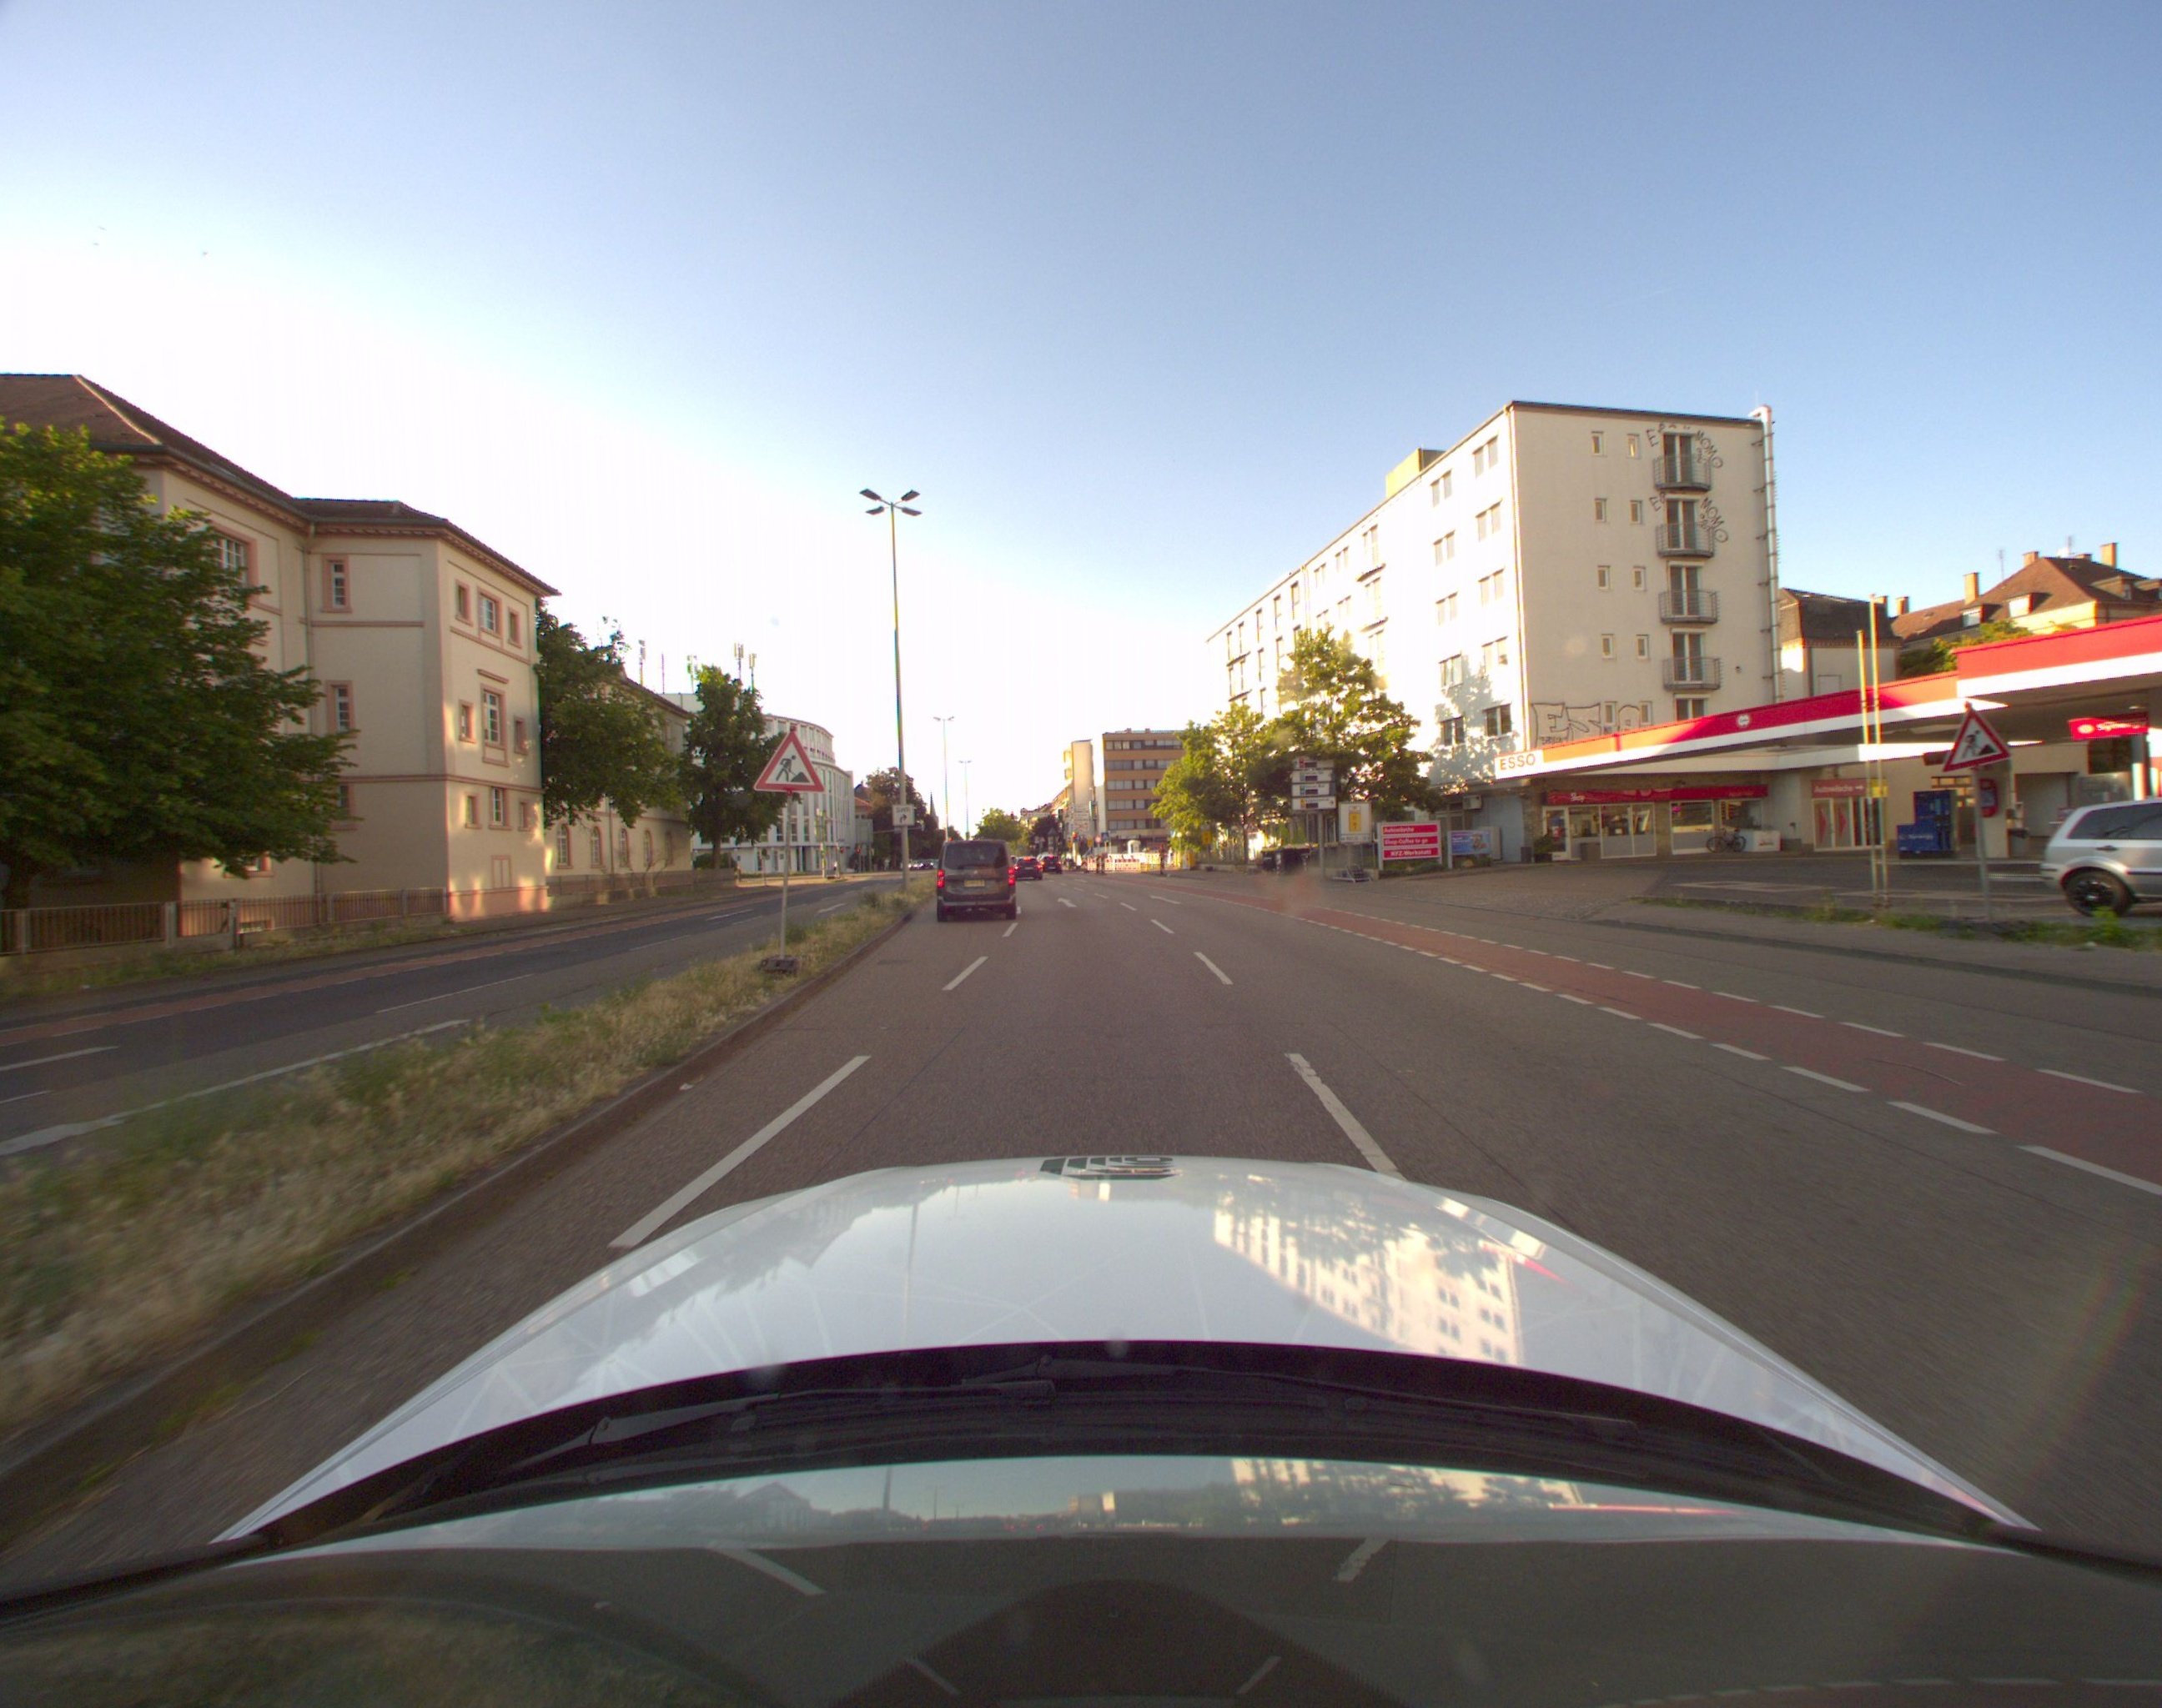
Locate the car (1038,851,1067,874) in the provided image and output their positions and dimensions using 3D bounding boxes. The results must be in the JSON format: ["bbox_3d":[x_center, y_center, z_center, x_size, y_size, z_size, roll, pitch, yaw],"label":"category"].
[{"bbox_3d":[-2.288,0.628,64.323,1.991,1.656,4.291,-3,0,-5],"label":"car"}]

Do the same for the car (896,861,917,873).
[{"bbox_3d":[-24.486,1.787,114.301,1.987,1.595,4.000,-2,0,0],"label":"car"}]

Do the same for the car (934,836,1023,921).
[{"bbox_3d":[-2.594,0.527,20.477,1.992,1.900,4.287,0,1,-8],"label":"car"}]

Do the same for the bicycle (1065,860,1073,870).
[{"bbox_3d":[-1.057,1.002,72.022,0.532,0.847,1.680,-3,0,-6],"label":"bicycle"}]

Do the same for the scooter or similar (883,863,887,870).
[{"bbox_3d":[-26.342,1.651,109.688,0.357,0.895,0.902,-3,0,-6],"label":"scooter or similar"}]

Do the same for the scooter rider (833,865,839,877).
[{"bbox_3d":[-22.339,1.548,74.191,0.510,1.036,0.443,-1,0,-18],"label":"scooter rider"}]

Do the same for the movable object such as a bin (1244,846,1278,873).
[{"bbox_3d":[9.730,0.289,44.083,1.457,1.386,1.547,-3,0,2],"label":"movable object such as a bin"}]

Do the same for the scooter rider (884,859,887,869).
[{"bbox_3d":[-26.351,1.360,109.633,0.354,1.373,0.336,-3,0,-6],"label":"scooter rider"}]

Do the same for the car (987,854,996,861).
[{"bbox_3d":[-23.892,0.956,217.006,1.849,1.708,3.711,-3,0,-11],"label":"car"}]

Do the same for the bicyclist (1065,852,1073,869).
[{"bbox_3d":[-1.078,0.539,72.012,0.540,1.459,0.640,-3,0,-6],"label":"bicyclist"}]

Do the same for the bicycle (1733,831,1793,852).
[{"bbox_3d":[28.470,-0.515,34.030,0.624,0.829,1.799,-3,1,-26],"label":"bicycle"}]

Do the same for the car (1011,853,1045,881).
[{"bbox_3d":[-3.170,0.732,49.365,1.841,1.544,3.629,-2,0,-2],"label":"car"}]

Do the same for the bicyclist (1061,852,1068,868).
[{"bbox_3d":[-1.495,0.559,74.496,0.540,1.459,0.640,-3,0,-6],"label":"bicyclist"}]

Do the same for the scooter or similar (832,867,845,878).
[{"bbox_3d":[-22.116,1.654,74.251,1.101,0.976,0.556,-1,0,-17],"label":"scooter or similar"}]

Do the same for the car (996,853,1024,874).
[{"bbox_3d":[-6.099,0.775,69.201,1.993,1.656,4.285,-3,0,-9],"label":"car"}]

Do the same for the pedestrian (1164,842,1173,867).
[{"bbox_3d":[7.315,0.031,67.945,0.490,2.013,0.662,-3,0,-8],"label":"pedestrian"}]

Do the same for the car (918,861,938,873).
[{"bbox_3d":[-21.576,1.807,115.208,1.987,1.595,4.000,-2,0,0],"label":"car"}]

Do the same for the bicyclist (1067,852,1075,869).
[{"bbox_3d":[-0.874,0.529,69.836,0.540,1.459,0.640,-3,0,-6],"label":"bicyclist"}]

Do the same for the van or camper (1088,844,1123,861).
[{"bbox_3d":[3.359,-0.220,111.898,4.541,2.013,2.004,-3,0,6],"label":"van or camper"}]

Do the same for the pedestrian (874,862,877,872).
[{"bbox_3d":[-28.035,1.768,111.067,0.353,1.290,0.378,-3,0,-6],"label":"pedestrian"}]

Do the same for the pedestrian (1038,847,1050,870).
[{"bbox_3d":[-3.247,0.373,71.367,1.017,2.014,1.095,-1,0,-6],"label":"pedestrian"}]

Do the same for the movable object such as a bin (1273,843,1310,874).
[{"bbox_3d":[10.507,0.232,40.704,1.457,1.454,1.547,-3,0,2],"label":"movable object such as a bin"}]

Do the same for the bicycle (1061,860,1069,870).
[{"bbox_3d":[-1.473,1.019,74.518,0.532,0.847,1.680,-3,0,-6],"label":"bicycle"}]

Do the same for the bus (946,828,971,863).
[{"bbox_3d":[-17.120,-1.155,113.246,3.290,4.617,9.966,-1,0,-10],"label":"bus"}]

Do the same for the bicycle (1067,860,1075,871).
[{"bbox_3d":[-0.846,0.995,69.813,0.532,0.847,1.680,-3,0,-6],"label":"bicycle"}]

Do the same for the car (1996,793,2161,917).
[{"bbox_3d":[14.178,-0.024,9.611,1.767,1.530,4.348,-2,0,-3],"label":"car"}]

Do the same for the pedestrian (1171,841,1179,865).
[{"bbox_3d":[7.868,-0.107,68.117,0.489,2.013,0.664,-3,0,-3],"label":"pedestrian"}]

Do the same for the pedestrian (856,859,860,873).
[{"bbox_3d":[-28.036,1.520,102.498,0.376,1.659,0.566,-3,0,-13],"label":"pedestrian"}]
